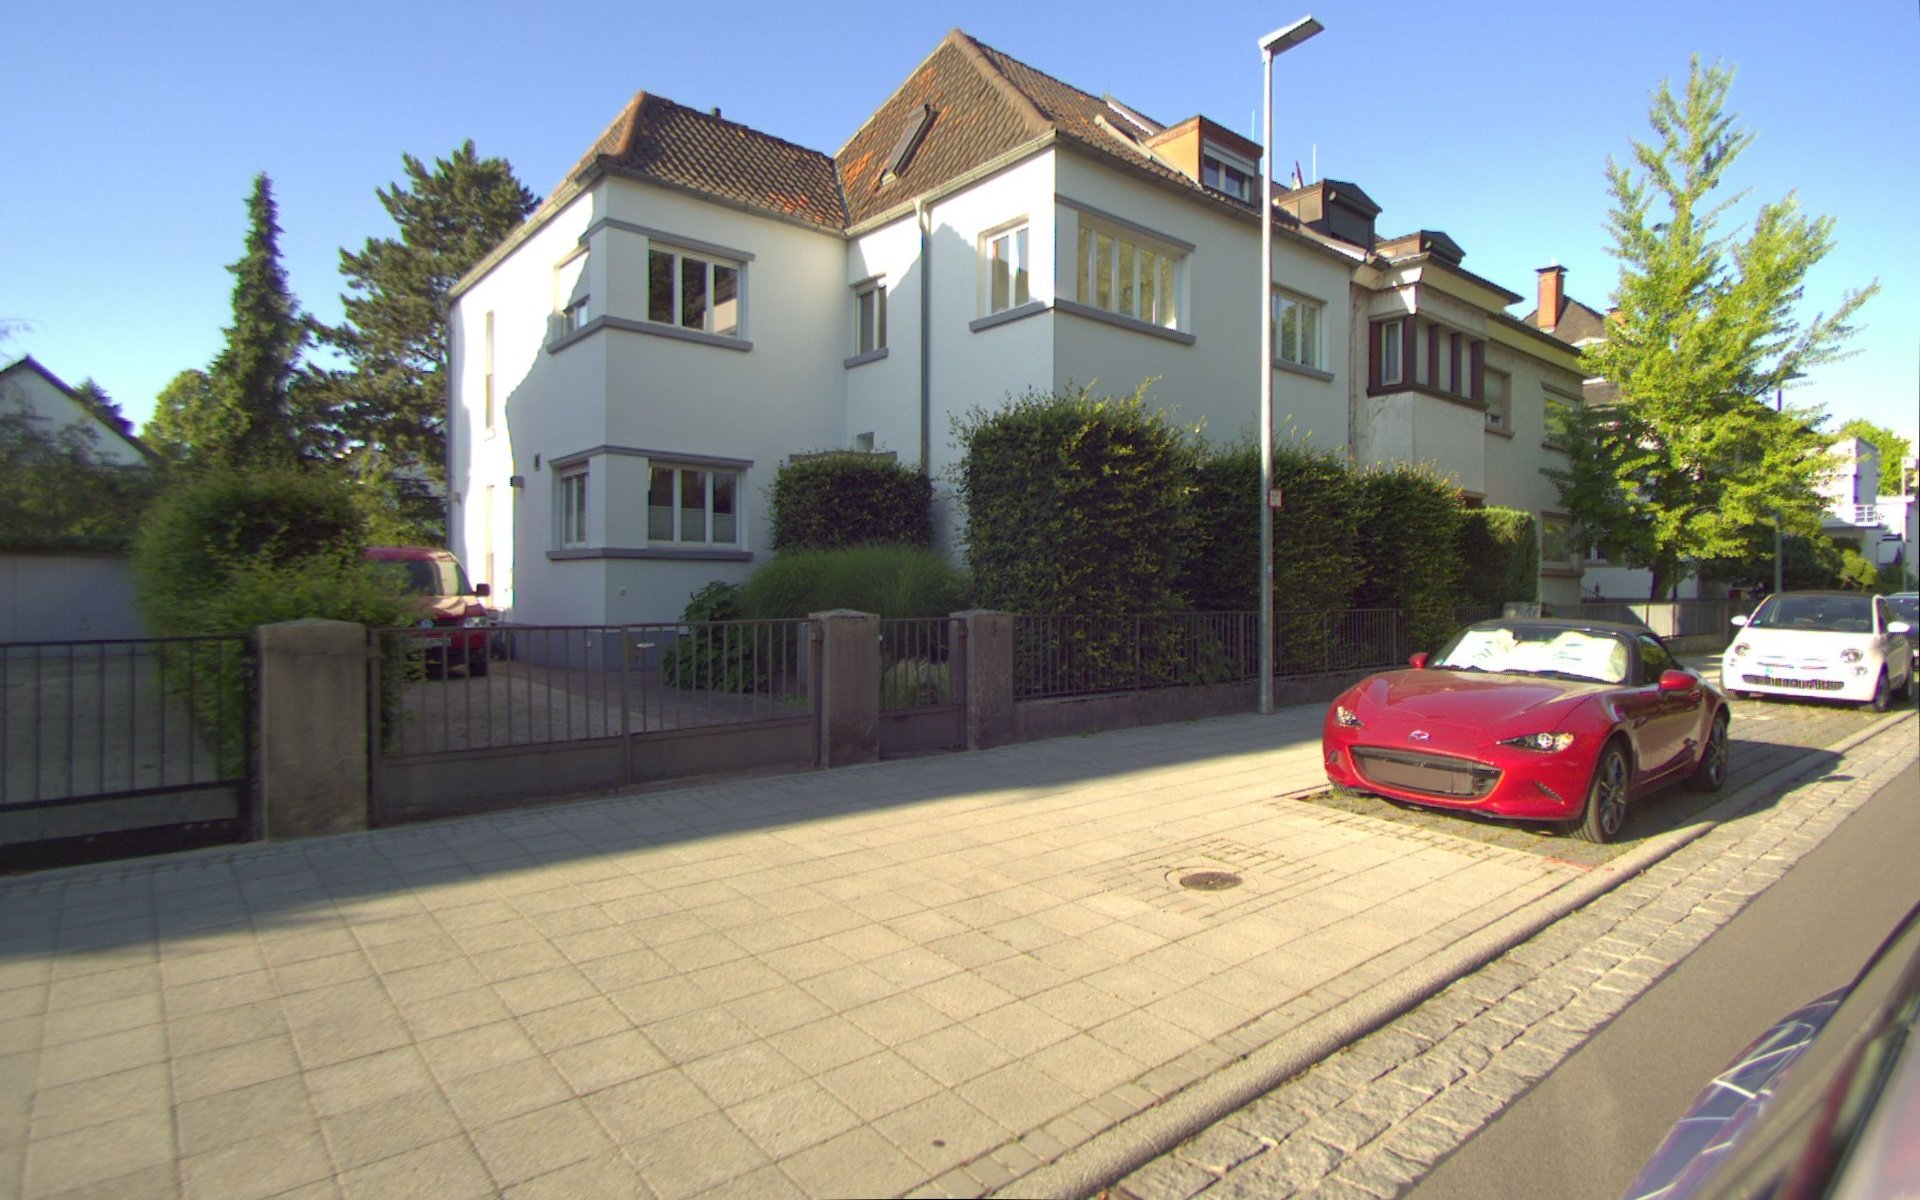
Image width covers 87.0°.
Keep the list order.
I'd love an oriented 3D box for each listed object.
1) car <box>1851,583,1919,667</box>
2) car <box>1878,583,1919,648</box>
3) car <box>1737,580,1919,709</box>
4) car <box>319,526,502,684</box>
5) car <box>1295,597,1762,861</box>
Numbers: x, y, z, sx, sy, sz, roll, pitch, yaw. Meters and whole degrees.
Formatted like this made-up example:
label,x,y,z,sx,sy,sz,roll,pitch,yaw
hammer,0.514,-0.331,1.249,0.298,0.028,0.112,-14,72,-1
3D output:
label,x,y,z,sx,sy,sz,roll,pitch,yaw
car,18.668,0.437,19.523,3.986,1.499,1.744,0,0,-42
car,23.863,0.350,24.671,3.696,1.499,1.665,0,0,-39
car,11.895,0.500,13.654,3.431,1.498,1.508,0,2,-40
car,-7.613,0.051,13.852,1.748,1.839,3.852,-1,0,-35
car,4.171,0.670,7.182,3.812,1.273,1.702,-1,2,-41
